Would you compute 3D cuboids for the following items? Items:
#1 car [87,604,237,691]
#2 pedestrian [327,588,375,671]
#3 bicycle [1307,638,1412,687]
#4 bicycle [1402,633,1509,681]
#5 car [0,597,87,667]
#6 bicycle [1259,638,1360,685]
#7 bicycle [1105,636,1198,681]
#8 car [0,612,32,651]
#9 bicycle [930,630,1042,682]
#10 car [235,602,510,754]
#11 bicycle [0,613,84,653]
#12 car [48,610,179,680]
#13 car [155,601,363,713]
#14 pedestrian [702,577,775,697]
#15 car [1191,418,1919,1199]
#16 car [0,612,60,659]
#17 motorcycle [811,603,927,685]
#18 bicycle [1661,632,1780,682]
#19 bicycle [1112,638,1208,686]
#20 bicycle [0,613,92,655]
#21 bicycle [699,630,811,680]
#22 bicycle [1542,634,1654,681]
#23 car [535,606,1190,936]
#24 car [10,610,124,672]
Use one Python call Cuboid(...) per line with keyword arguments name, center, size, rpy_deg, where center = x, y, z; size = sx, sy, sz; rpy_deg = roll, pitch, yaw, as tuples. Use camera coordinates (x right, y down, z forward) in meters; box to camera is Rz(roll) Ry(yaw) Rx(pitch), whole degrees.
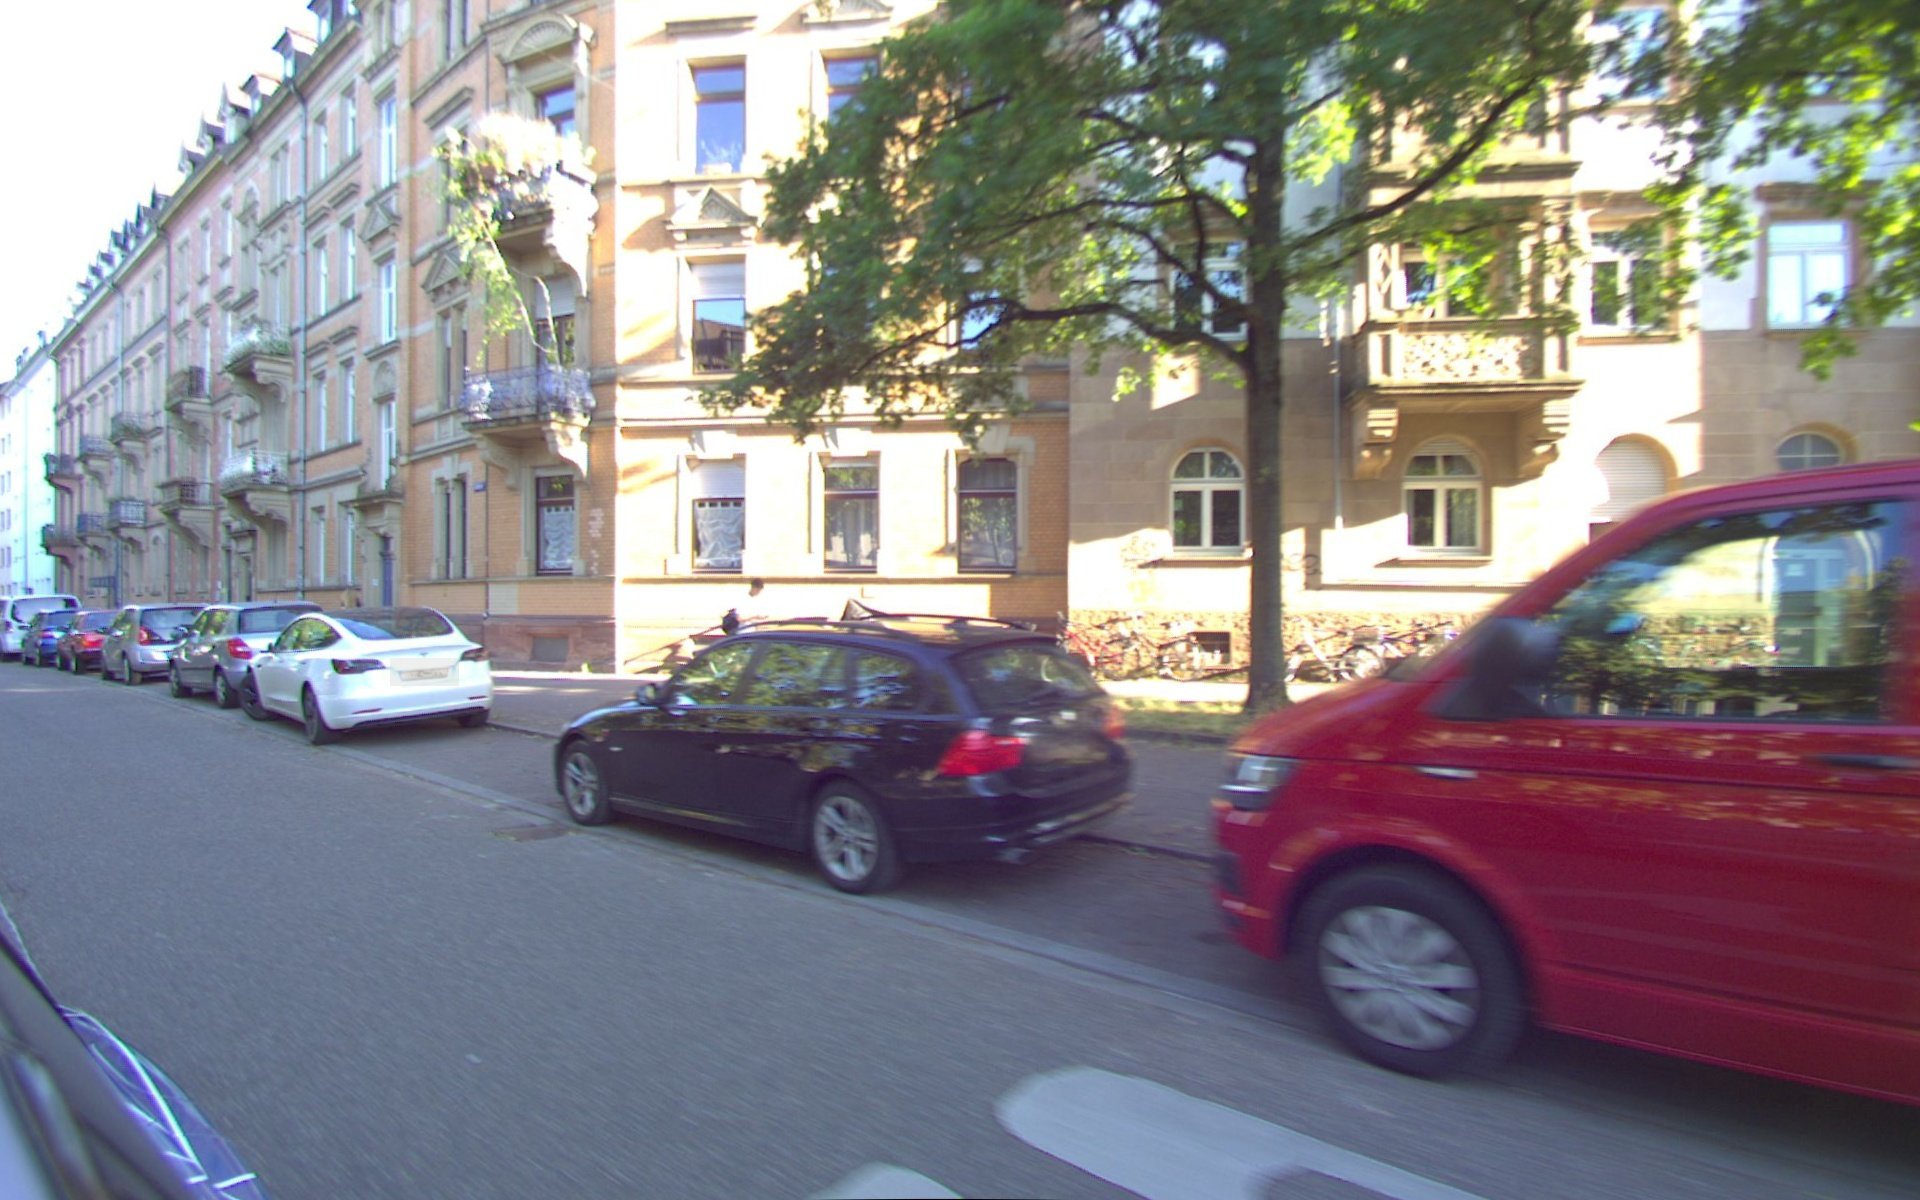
Cuboid(name="car", center=(-15.590, 0.859, 19.718), size=(3.708, 1.486, 1.666), rpy_deg=(-1, 1, 42))
Cuboid(name="pedestrian", center=(-13.063, 0.616, 21.706), size=(0.722, 1.731, 0.666), rpy_deg=(-1, 1, 43))
Cuboid(name="bicycle", center=(6.312, 0.985, 16.027), size=(1.491, 0.738, 0.368), rpy_deg=(0, -1, 6))
Cuboid(name="bicycle", center=(7.937, 0.911, 16.234), size=(1.491, 0.738, 0.368), rpy_deg=(0, -1, 6))
Cuboid(name="car", center=(-27.671, 0.913, 30.114), size=(4.723, 1.897, 1.887), rpy_deg=(-1, 1, 41))
Cuboid(name="bicycle", center=(5.681, 0.992, 16.486), size=(1.491, 0.738, 0.368), rpy_deg=(0, -1, 6))
Cuboid(name="bicycle", center=(3.185, 0.970, 16.927), size=(1.491, 0.738, 0.368), rpy_deg=(0, -1, 6))
Cuboid(name="car", center=(-38.632, 1.251, 40.382), size=(4.391, 1.452, 1.856), rpy_deg=(-1, 1, 41))
Cuboid(name="bicycle", center=(0.460, 0.961, 17.332), size=(1.875, 0.854, 0.524), rpy_deg=(-1, -1, 6))
Cuboid(name="car", center=(-7.281, 0.812, 12.346), size=(4.271, 1.486, 1.756), rpy_deg=(-1, 1, 44))
Cuboid(name="bicycle", center=(-35.607, 1.272, 38.780), size=(0.817, 1.496, 3.003), rpy_deg=(-1, -2, 42))
Cuboid(name="car", center=(-19.486, 0.973, 23.238), size=(4.289, 1.394, 1.744), rpy_deg=(-1, 1, 43))
Cuboid(name="car", center=(-10.938, 0.803, 15.698), size=(3.878, 1.486, 1.667), rpy_deg=(-1, 1, 40))
Cuboid(name="pedestrian", center=(-3.314, 0.539, 15.212), size=(0.899, 1.731, 0.675), rpy_deg=(-1, 2, 1))
Cuboid(name="car", center=(3.220, 0.516, 2.746), size=(4.769, 1.948, 1.758), rpy_deg=(-1, 1, 41))
Cuboid(name="car", center=(-31.872, 1.180, 34.027), size=(4.391, 1.452, 1.856), rpy_deg=(-1, 1, 41))
Cuboid(name="motorcycle", center=(-1.546, 0.751, 17.382), size=(1.875, 1.363, 0.808), rpy_deg=(-1, -1, 6))
Cuboid(name="bicycle", center=(11.921, 0.894, 15.890), size=(1.491, 0.738, 0.368), rpy_deg=(-2, -1, 6))
Cuboid(name="bicycle", center=(3.244, 1.005, 16.508), size=(1.491, 0.738, 0.414), rpy_deg=(0, -1, 6))
Cuboid(name="bicycle", center=(-34.307, 1.258, 37.610), size=(0.817, 1.496, 3.003), rpy_deg=(-1, -2, 42))
Cuboid(name="bicycle", center=(-3.599, 0.966, 17.799), size=(1.875, 0.854, 0.524), rpy_deg=(-1, -1, 6))
Cuboid(name="bicycle", center=(10.196, 0.912, 16.199), size=(1.491, 0.738, 0.368), rpy_deg=(0, -1, 6))
Cuboid(name="car", center=(-0.854, 0.810, 6.628), size=(4.266, 1.444, 1.759), rpy_deg=(-1, 1, 39))
Cuboid(name="car", center=(-23.383, 1.021, 26.462), size=(3.886, 1.449, 1.745), rpy_deg=(-1, 1, 41))
